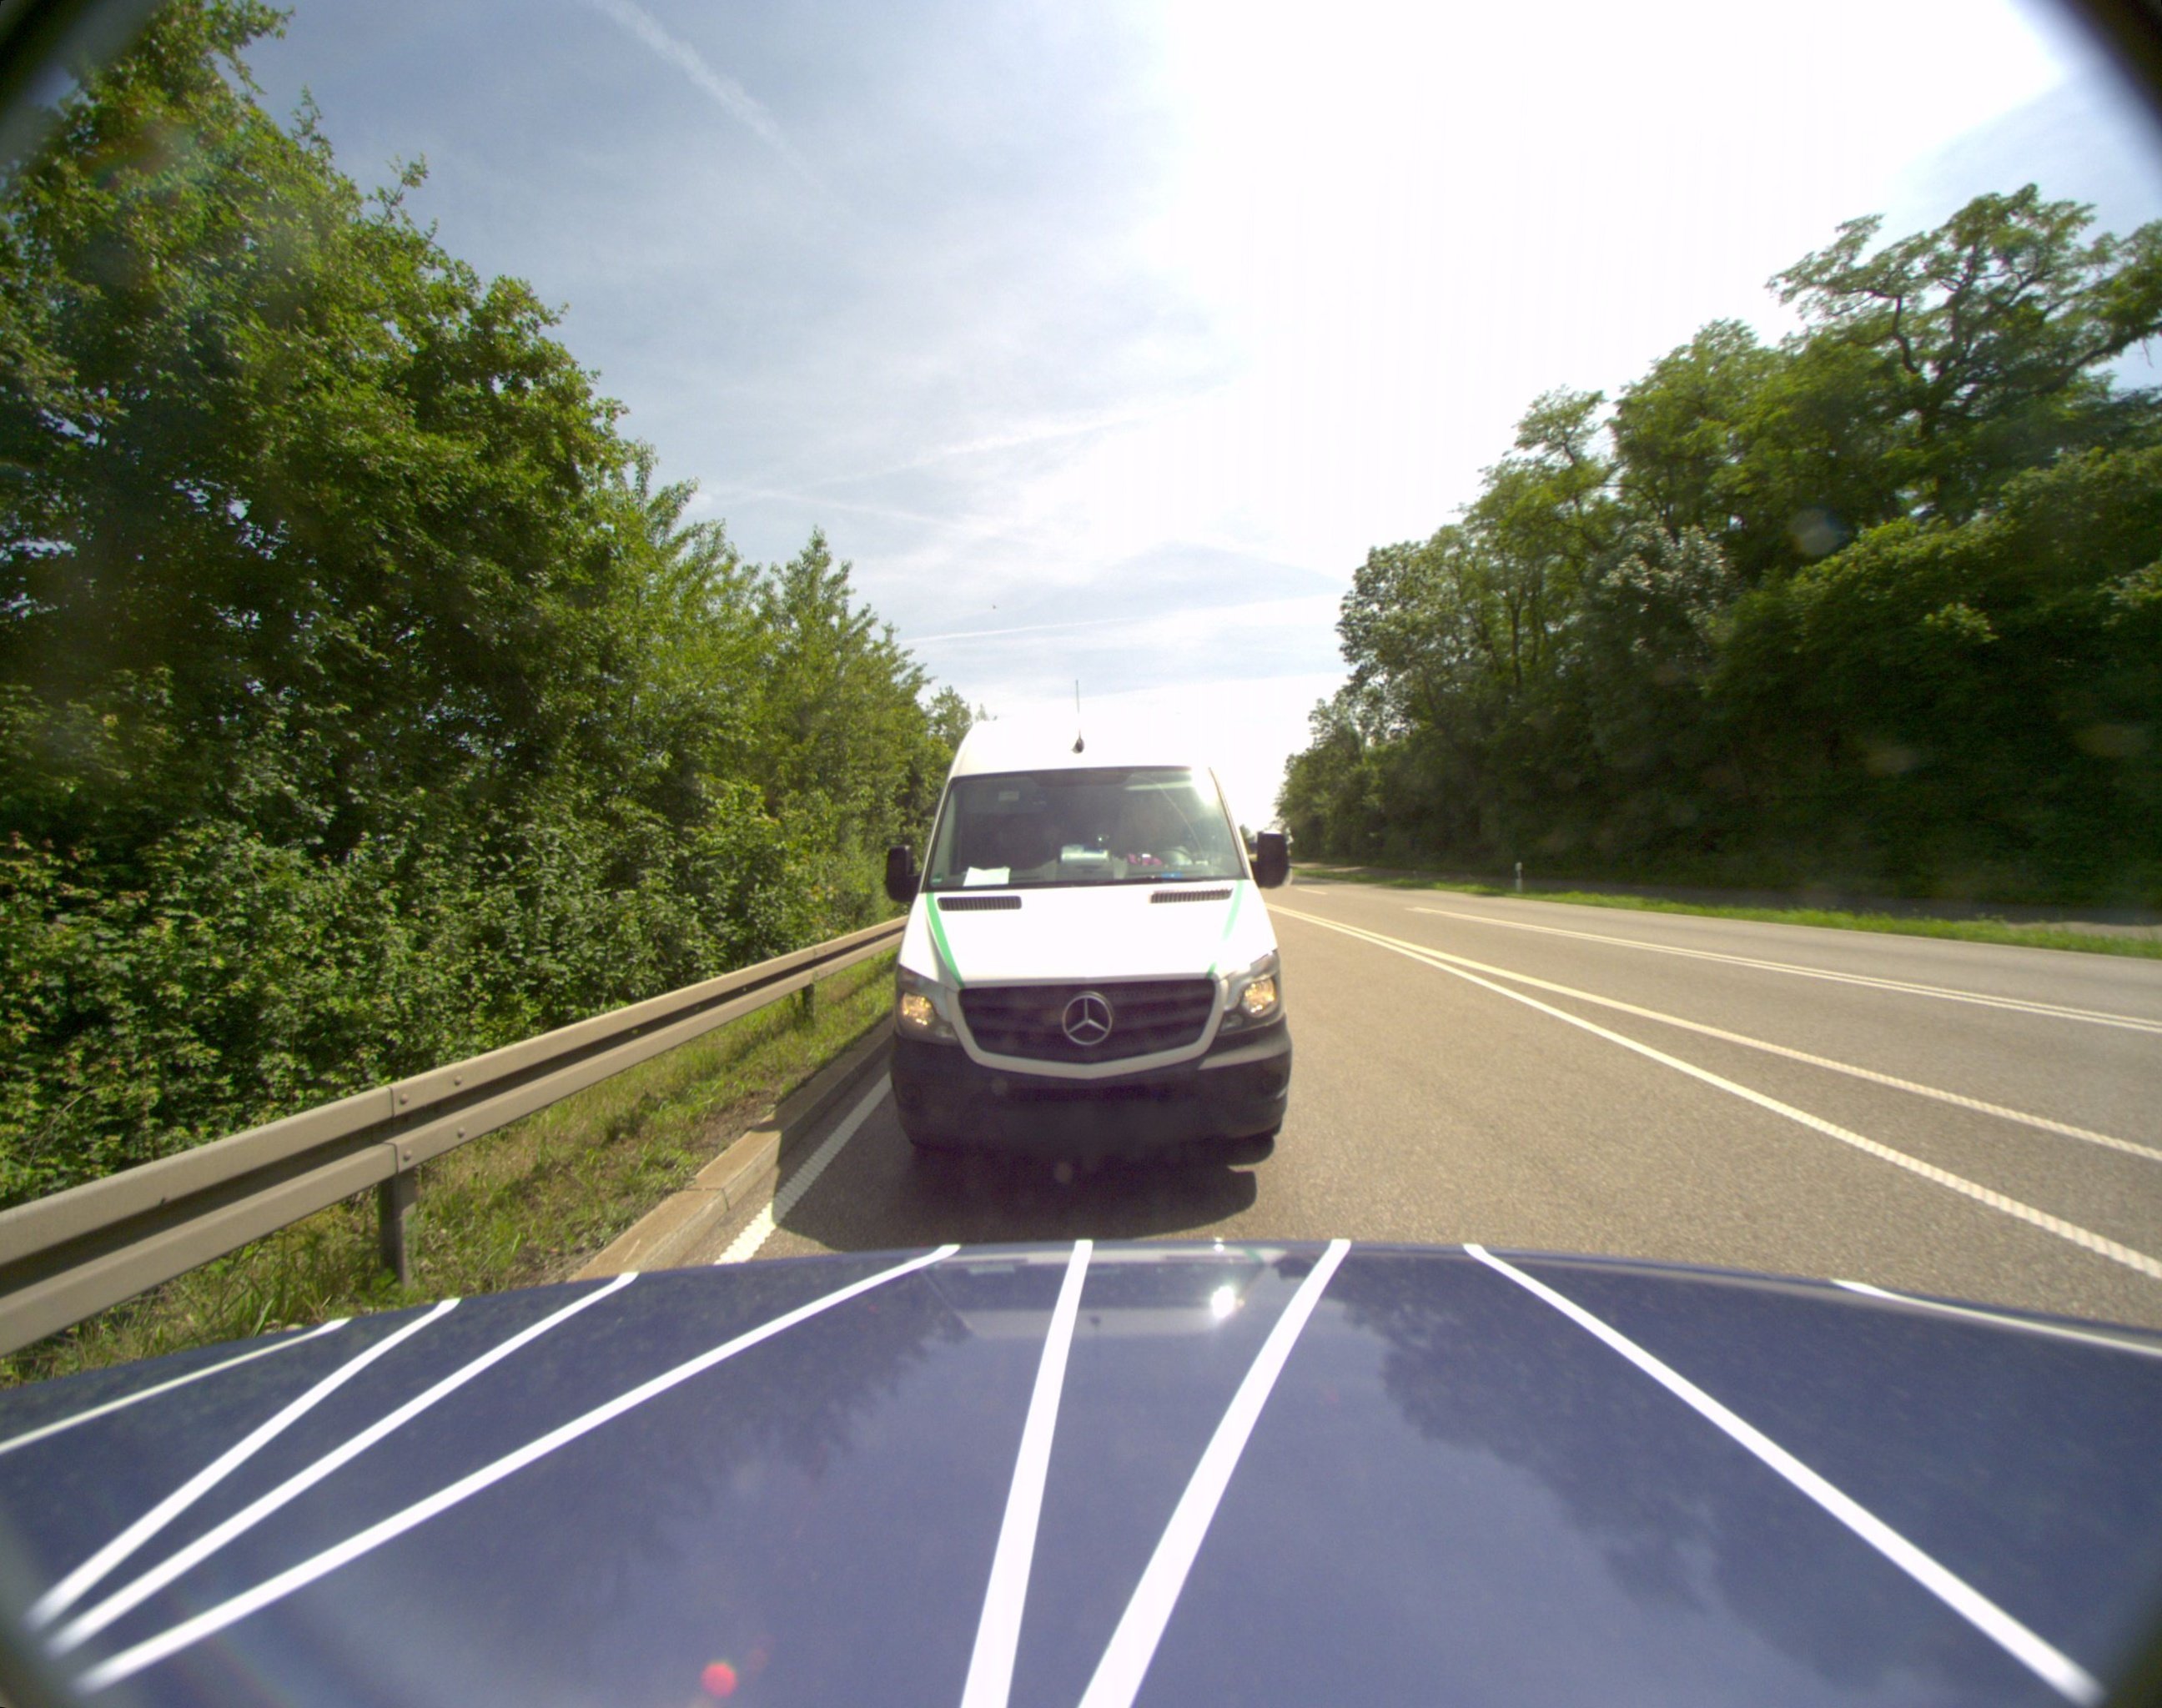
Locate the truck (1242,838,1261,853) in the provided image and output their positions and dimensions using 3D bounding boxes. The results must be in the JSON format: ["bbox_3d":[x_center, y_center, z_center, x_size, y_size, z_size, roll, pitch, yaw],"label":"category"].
[{"bbox_3d":[51.838,-2.566,230.801,4.392,4.433,14.729,-2,0,17],"label":"truck"}]

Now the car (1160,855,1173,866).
[{"bbox_3d":[14.725,1.089,130.807,1.765,1.849,3.812,-2,1,12],"label":"car"}]

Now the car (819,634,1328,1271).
[{"bbox_3d":[0.048,0.408,5.674,1.958,2.502,5.267,-2,0,2],"label":"car"}]
